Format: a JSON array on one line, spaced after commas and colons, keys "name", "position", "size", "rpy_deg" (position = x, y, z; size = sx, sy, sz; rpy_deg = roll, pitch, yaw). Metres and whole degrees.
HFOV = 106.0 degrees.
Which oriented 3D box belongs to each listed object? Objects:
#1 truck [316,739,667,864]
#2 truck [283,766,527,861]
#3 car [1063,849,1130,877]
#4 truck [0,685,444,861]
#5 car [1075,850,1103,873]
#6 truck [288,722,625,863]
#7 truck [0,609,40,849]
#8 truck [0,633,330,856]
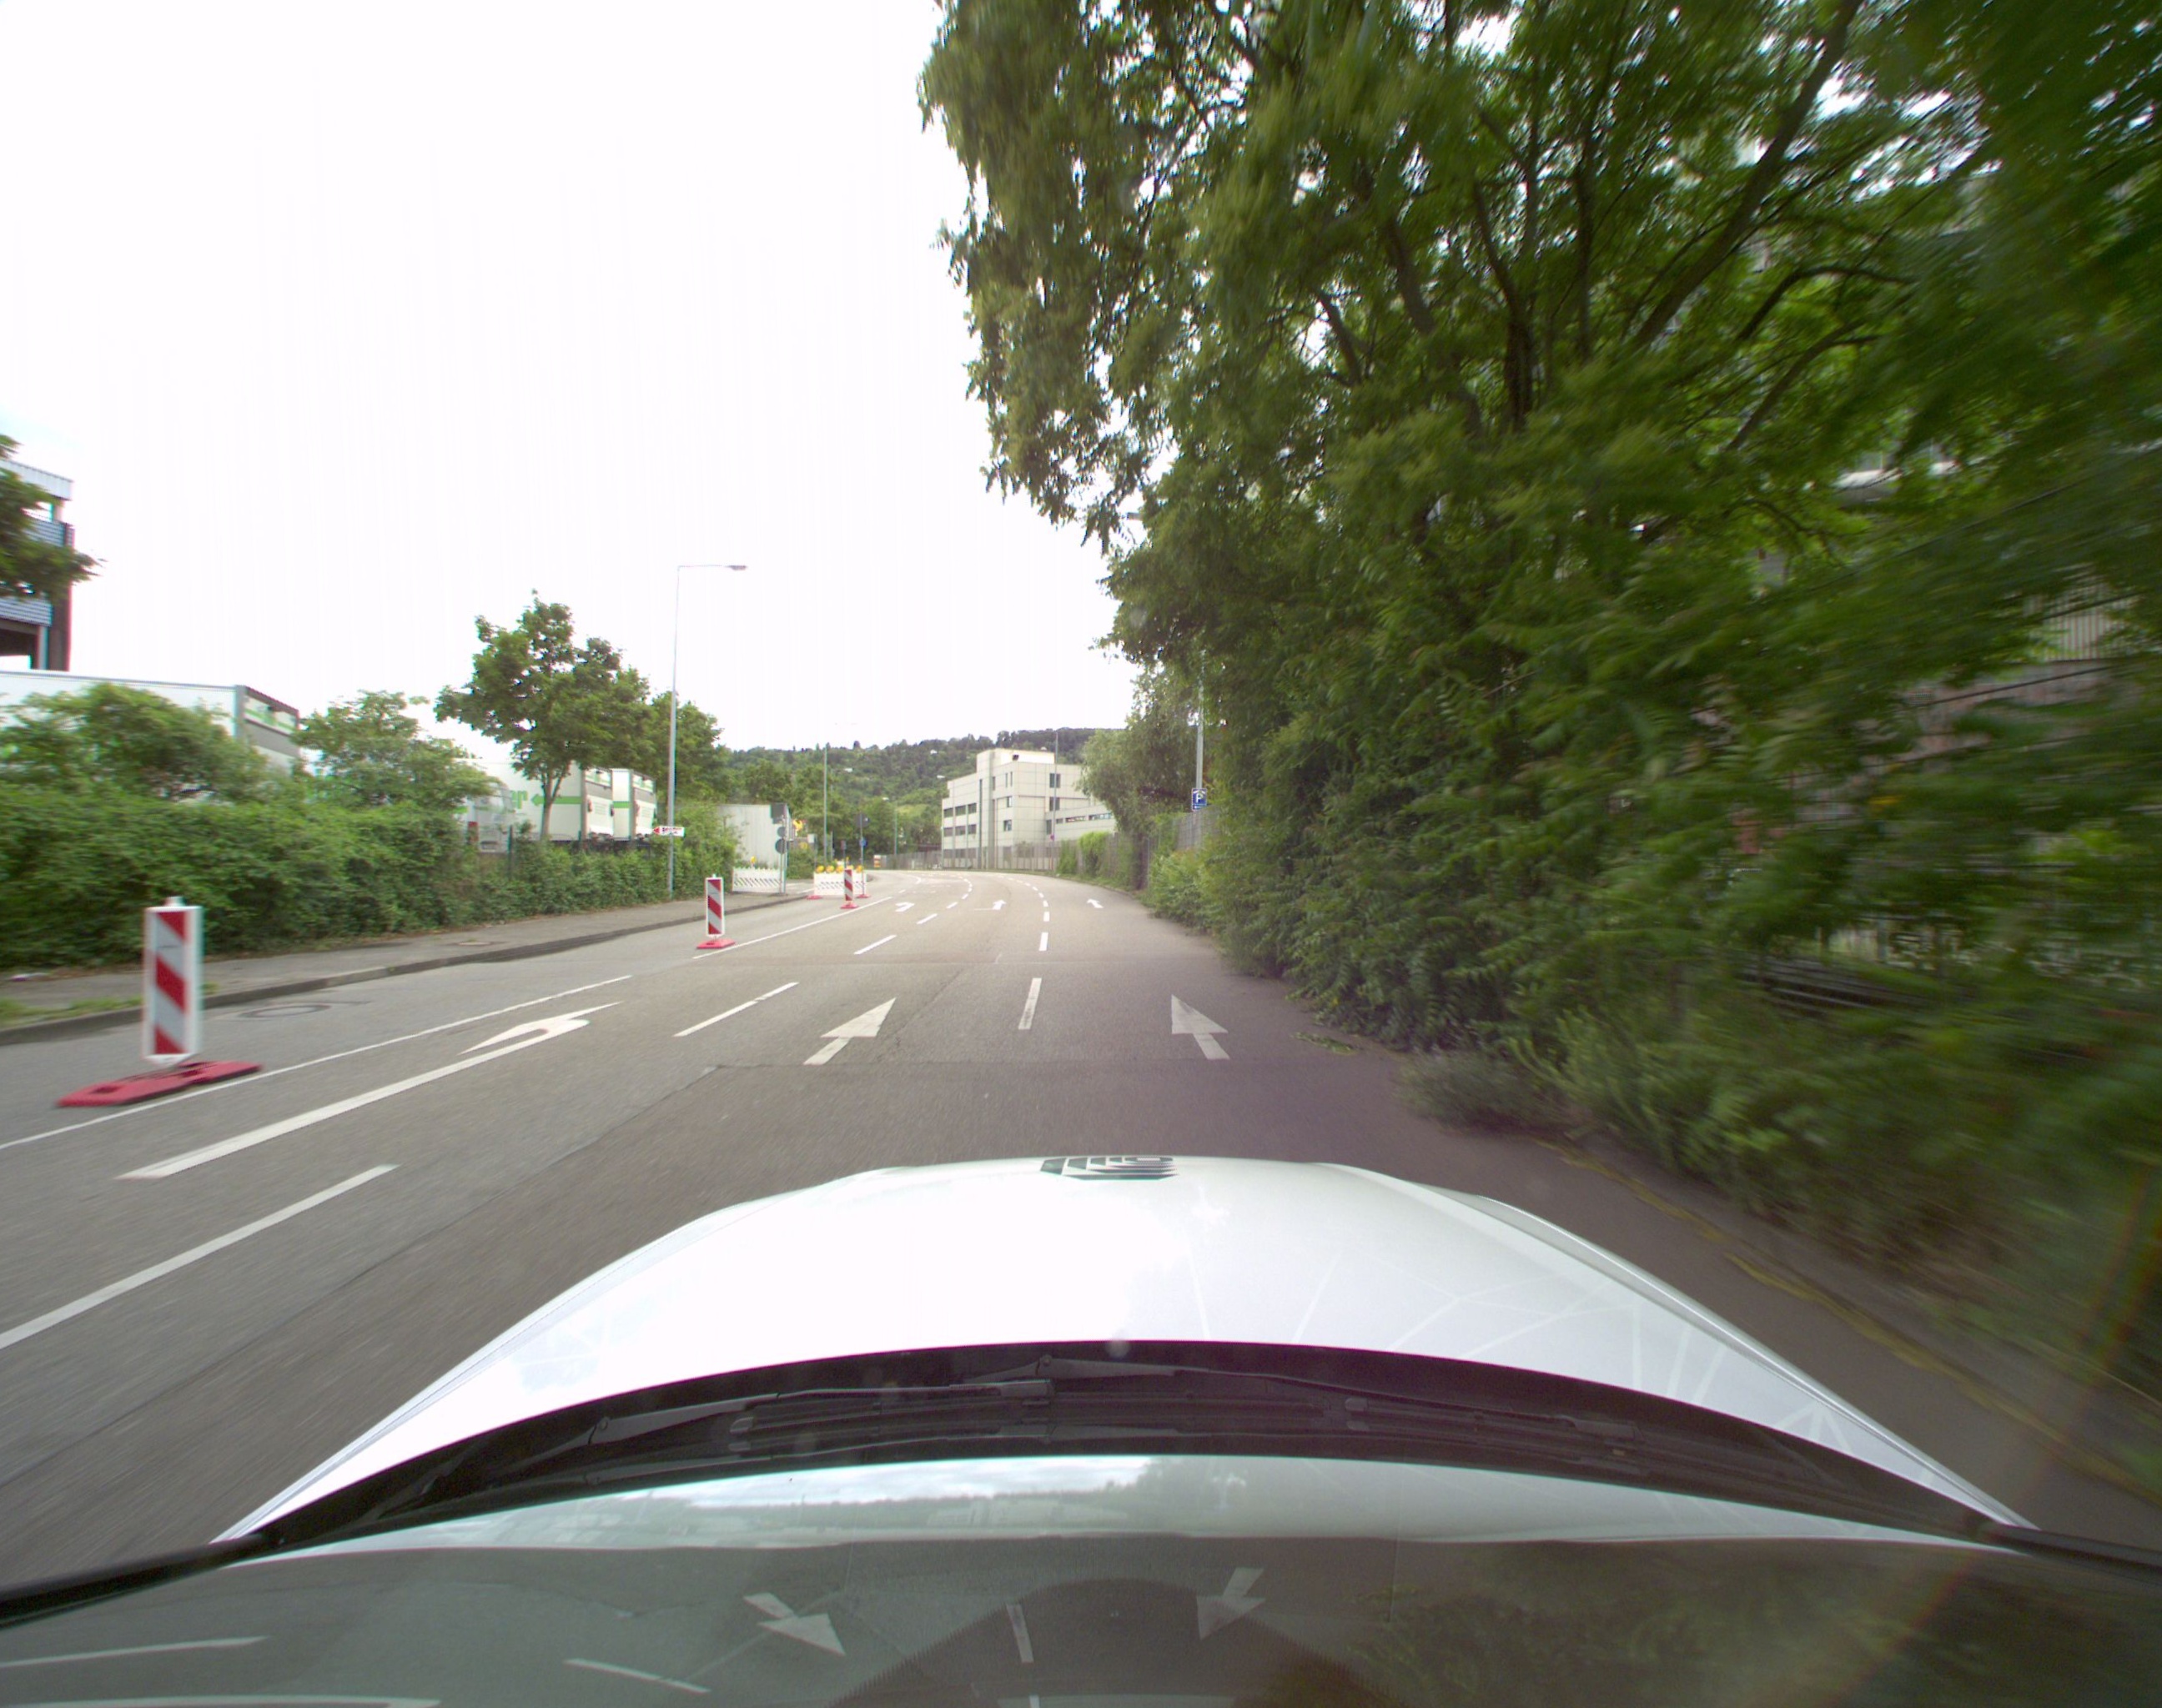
[{"name": "truck", "position": [-20.527, -1.683, 29.121], "size": [9.626, 3.991, 3.040], "rpy_deg": [1, -2, -12]}, {"name": "truck", "position": [-18.544, -1.047, 22.600], "size": [4.683, 2.406, 2.190], "rpy_deg": [0, -2, -6]}, {"name": "car", "position": [1.306, 0.772, 70.735], "size": [2.011, 2.263, 6.094], "rpy_deg": [2, 0, -45]}, {"name": "truck", "position": [-19.437, -1.552, 18.023], "size": [7.884, 3.250, 3.025], "rpy_deg": [1, -2, -27]}, {"name": "car", "position": [0.657, 0.730, 73.312], "size": [1.991, 2.014, 4.834], "rpy_deg": [1, -2, -6]}, {"name": "truck", "position": [-19.457, -1.756, 26.034], "size": [7.849, 3.991, 3.038], "rpy_deg": [1, -2, -13]}, {"name": "truck", "position": [-19.337, -1.949, 9.710], "size": [7.877, 3.539, 3.027], "rpy_deg": [1, -2, -24]}, {"name": "truck", "position": [-19.018, -1.830, 14.318], "size": [7.884, 3.539, 3.025], "rpy_deg": [1, -2, -27]}]
